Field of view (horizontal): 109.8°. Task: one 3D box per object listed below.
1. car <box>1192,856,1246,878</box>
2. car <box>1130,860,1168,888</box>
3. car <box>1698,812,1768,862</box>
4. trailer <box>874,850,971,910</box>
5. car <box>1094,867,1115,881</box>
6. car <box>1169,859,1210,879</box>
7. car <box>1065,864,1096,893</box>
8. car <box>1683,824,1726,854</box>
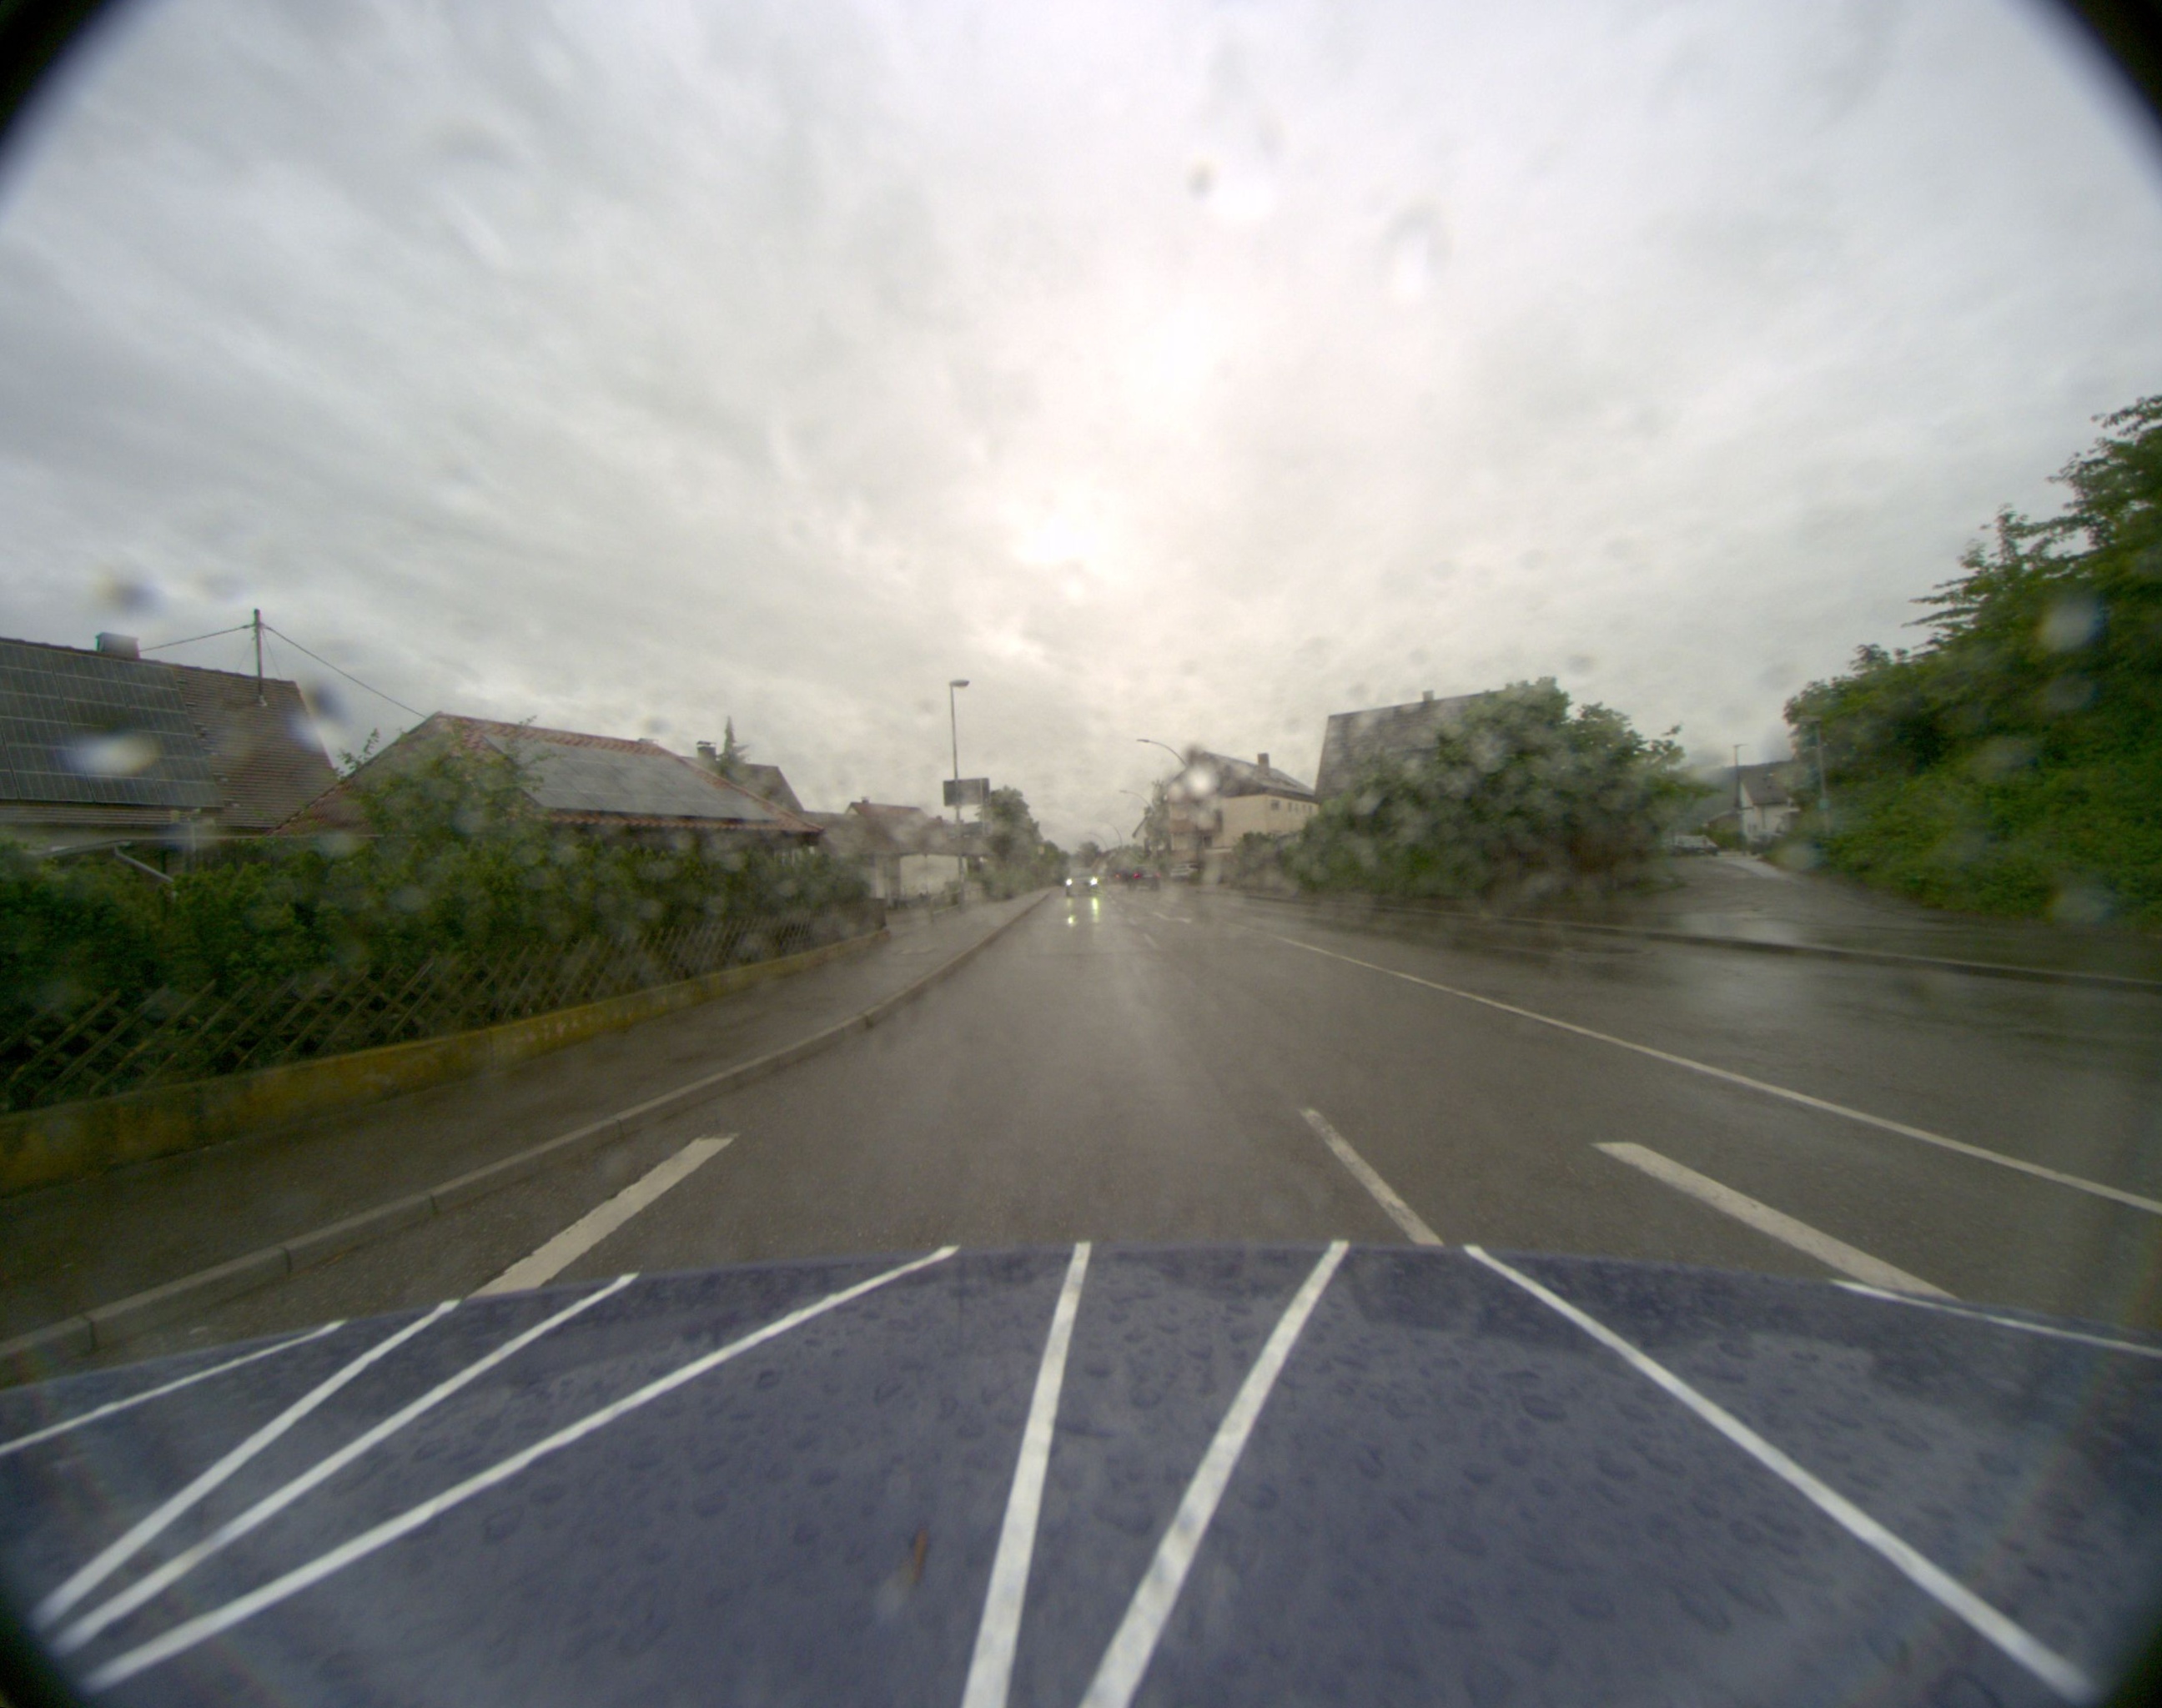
[{"bbox_3d":[10.726,1.034,59.197,3.661,1.510,1.758,-3,0,35],"label":"car"},{"bbox_3d":[4.433,1.296,50.236,1.998,1.658,4.416,-3,0,0],"label":"car"},{"bbox_3d":[23.114,-0.605,26.893,1.706,1.579,3.669,-2,0,42],"label":"car"},{"bbox_3d":[-7.262,1.157,35.323,1.645,2.502,4.712,-4,-1,29],"label":"trailer"},{"bbox_3d":[2.577,2.140,83.769,1.999,1.396,4.623,-2,0,-1],"label":"car"},{"bbox_3d":[9.282,1.248,64.788,1.864,1.510,4.007,-3,0,33],"label":"car"},{"bbox_3d":[-0.057,1.394,44.508,1.688,1.486,3.939,-3,0,-1],"label":"car"},{"bbox_3d":[41.422,-1.007,50.420,1.995,1.848,4.008,-3,0,41],"label":"car"}]
